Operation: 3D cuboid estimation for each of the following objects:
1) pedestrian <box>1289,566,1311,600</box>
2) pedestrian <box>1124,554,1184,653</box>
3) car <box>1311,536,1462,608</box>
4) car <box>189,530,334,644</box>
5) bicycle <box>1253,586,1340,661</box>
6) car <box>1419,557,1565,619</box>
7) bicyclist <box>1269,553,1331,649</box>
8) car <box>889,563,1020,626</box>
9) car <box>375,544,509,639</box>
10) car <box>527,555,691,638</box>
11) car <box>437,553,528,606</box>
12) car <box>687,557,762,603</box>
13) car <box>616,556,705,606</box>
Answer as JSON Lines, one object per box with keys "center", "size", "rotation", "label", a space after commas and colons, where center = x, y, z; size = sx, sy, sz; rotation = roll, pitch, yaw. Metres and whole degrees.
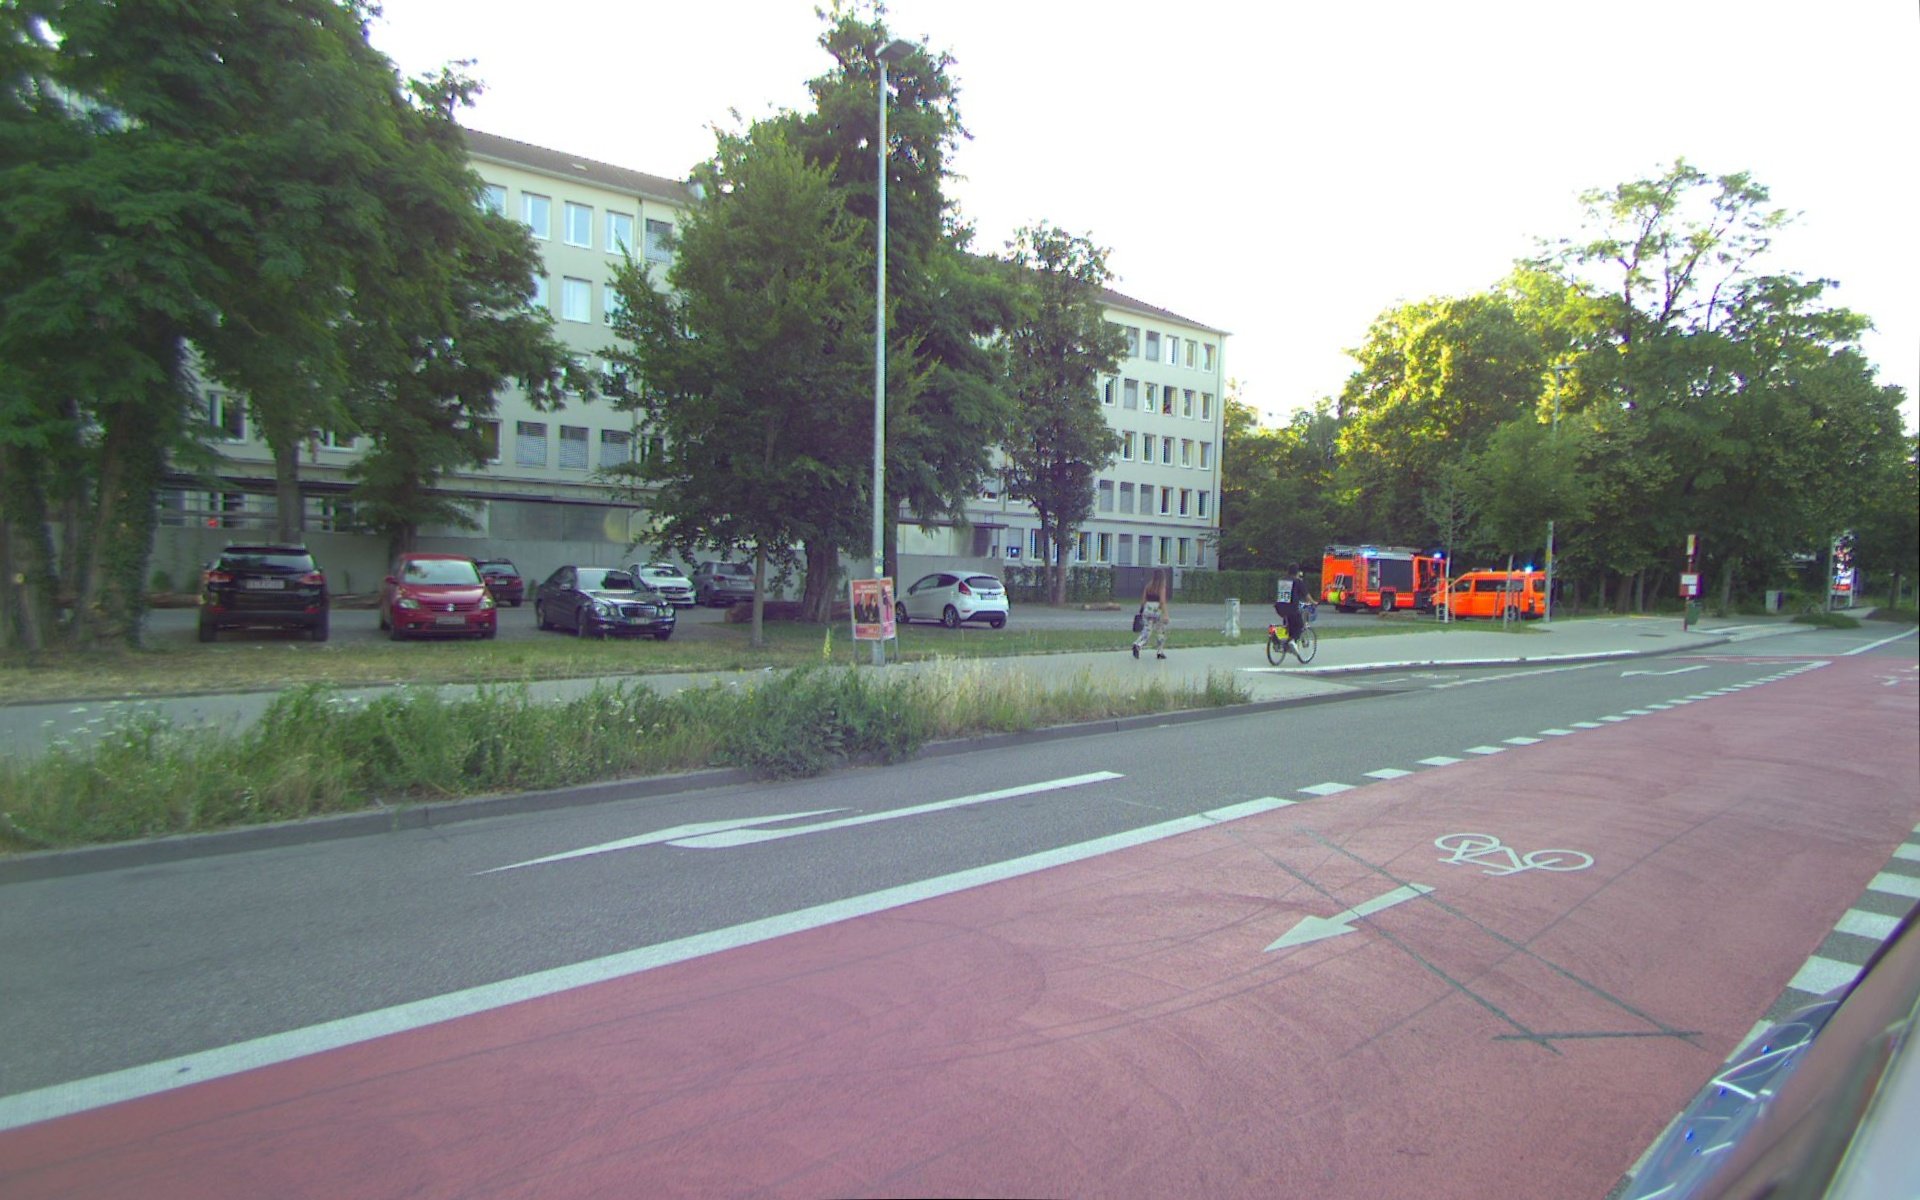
{"center": [18.632, -0.940, 55.528], "size": [0.670, 1.864, 0.846], "rotation": [1, 1, -33], "label": "pedestrian"}
{"center": [3.340, 0.046, 17.410], "size": [0.676, 1.642, 0.682], "rotation": [1, 2, -41], "label": "pedestrian"}
{"center": [20.968, -1.353, 49.517], "size": [8.138, 3.283, 2.775], "rotation": [0, 2, -34], "label": "car"}
{"center": [-12.287, -0.295, 17.861], "size": [1.882, 1.761, 4.241], "rotation": [0, 2, -35], "label": "car"}
{"center": [6.003, 0.396, 17.995], "size": [1.866, 1.256, 0.571], "rotation": [0, 2, -41], "label": "bicycle"}
{"center": [22.782, -0.572, 43.554], "size": [1.963, 2.422, 5.168], "rotation": [0, 2, -37], "label": "car"}
{"center": [6.056, -0.002, 18.021], "size": [1.019, 1.652, 0.571], "rotation": [0, 2, -41], "label": "bicyclist"}
{"center": [-0.219, -0.193, 26.854], "size": [1.633, 1.477, 3.667], "rotation": [0, 2, -35], "label": "car"}
{"center": [-10.106, -0.234, 19.595], "size": [1.882, 1.630, 4.003], "rotation": [0, 2, -33], "label": "car"}
{"center": [-7.381, -0.144, 20.988], "size": [1.884, 1.482, 4.519], "rotation": [0, 3, -37], "label": "car"}
{"center": [-14.523, -0.641, 30.697], "size": [1.738, 1.477, 3.626], "rotation": [0, 3, -38], "label": "car"}
{"center": [-8.200, -0.704, 35.082], "size": [1.734, 1.477, 3.320], "rotation": [1, 2, -27], "label": "car"}
{"center": [-10.016, -0.662, 33.684], "size": [1.880, 1.540, 3.921], "rotation": [0, 2, -32], "label": "car"}
